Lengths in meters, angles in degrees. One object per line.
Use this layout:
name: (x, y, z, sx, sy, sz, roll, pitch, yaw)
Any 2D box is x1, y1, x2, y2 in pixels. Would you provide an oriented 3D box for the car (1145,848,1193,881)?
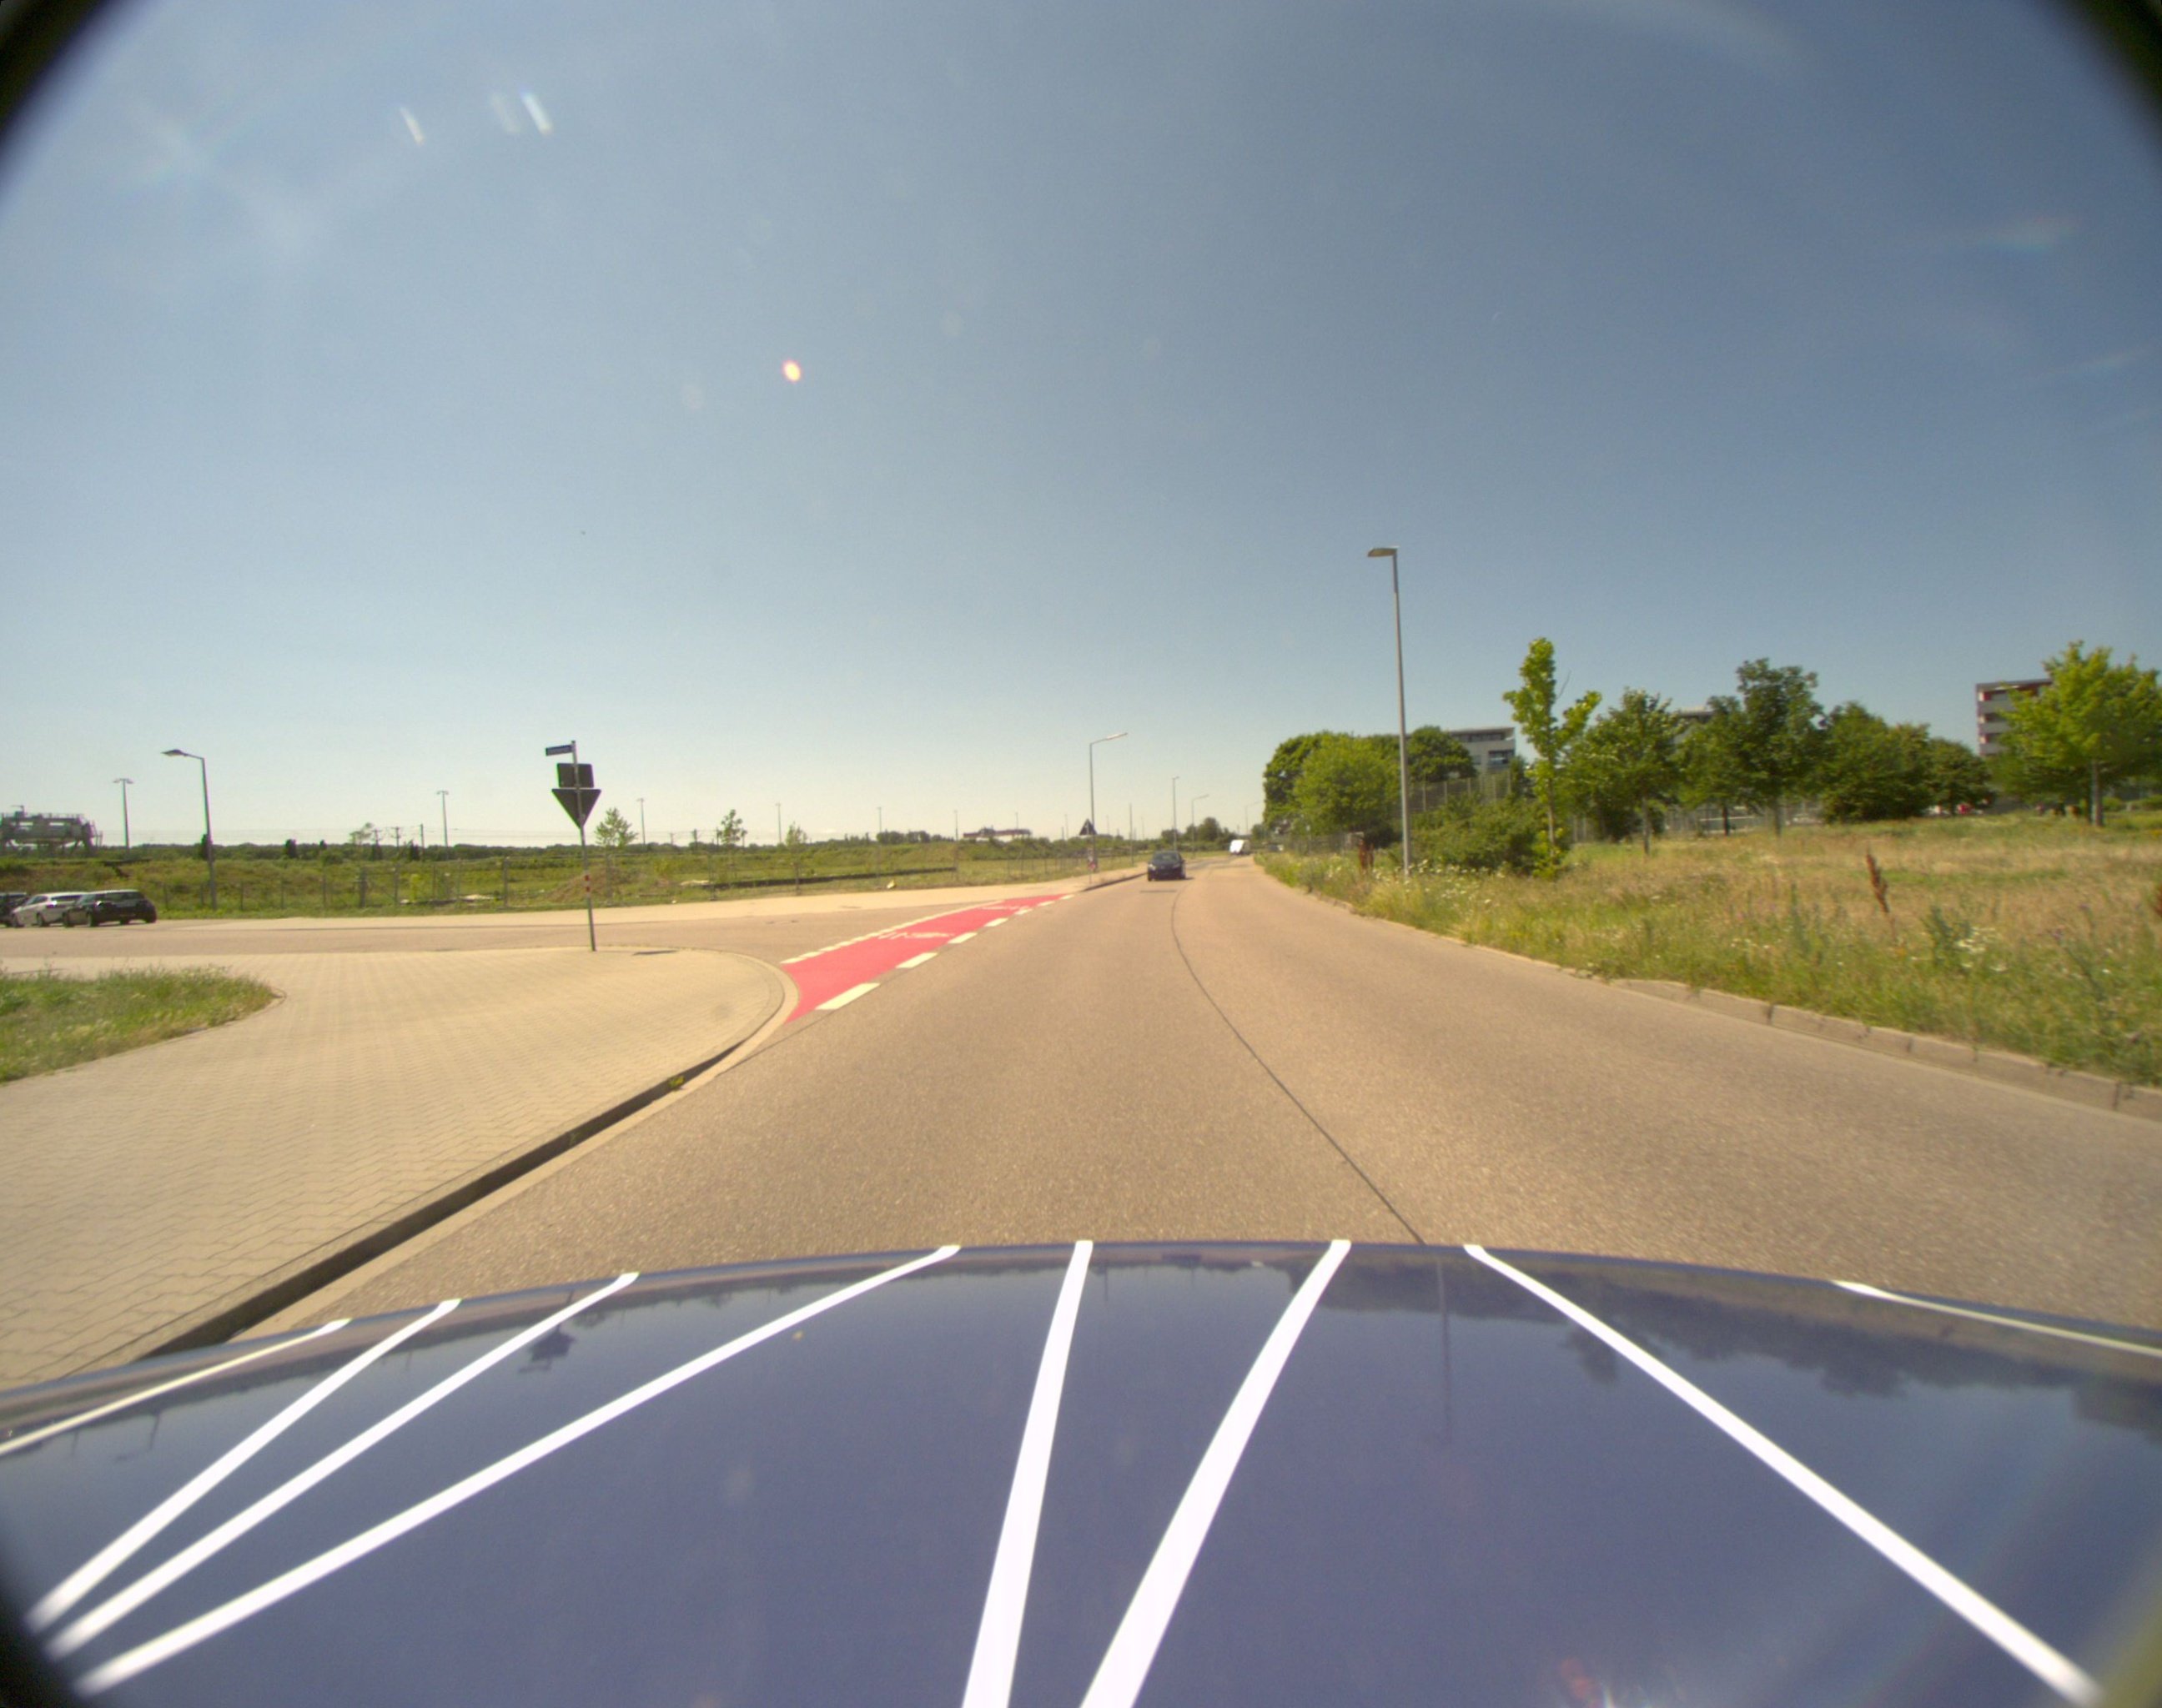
car: (4.449, 0.500, 37.860, 1.652, 1.458, 4.164, -2, 0, 16)

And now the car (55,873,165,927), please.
car: (-39.564, 1.861, 30.966, 3.907, 2.002, 1.883, -2, 1, 25)

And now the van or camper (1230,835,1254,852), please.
van or camper: (25.905, -1.697, 121.845, 2.137, 2.558, 5.876, -2, 0, 27)

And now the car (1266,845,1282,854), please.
car: (36.157, -0.832, 142.449, 1.651, 1.458, 3.873, -2, 0, 34)

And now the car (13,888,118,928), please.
car: (-44.496, 2.361, 33.291, 4.035, 1.548, 1.751, -2, 0, 23)

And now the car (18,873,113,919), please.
car: (-51.543, 2.116, 38.574, 3.908, 2.002, 1.883, -4, 1, 23)
